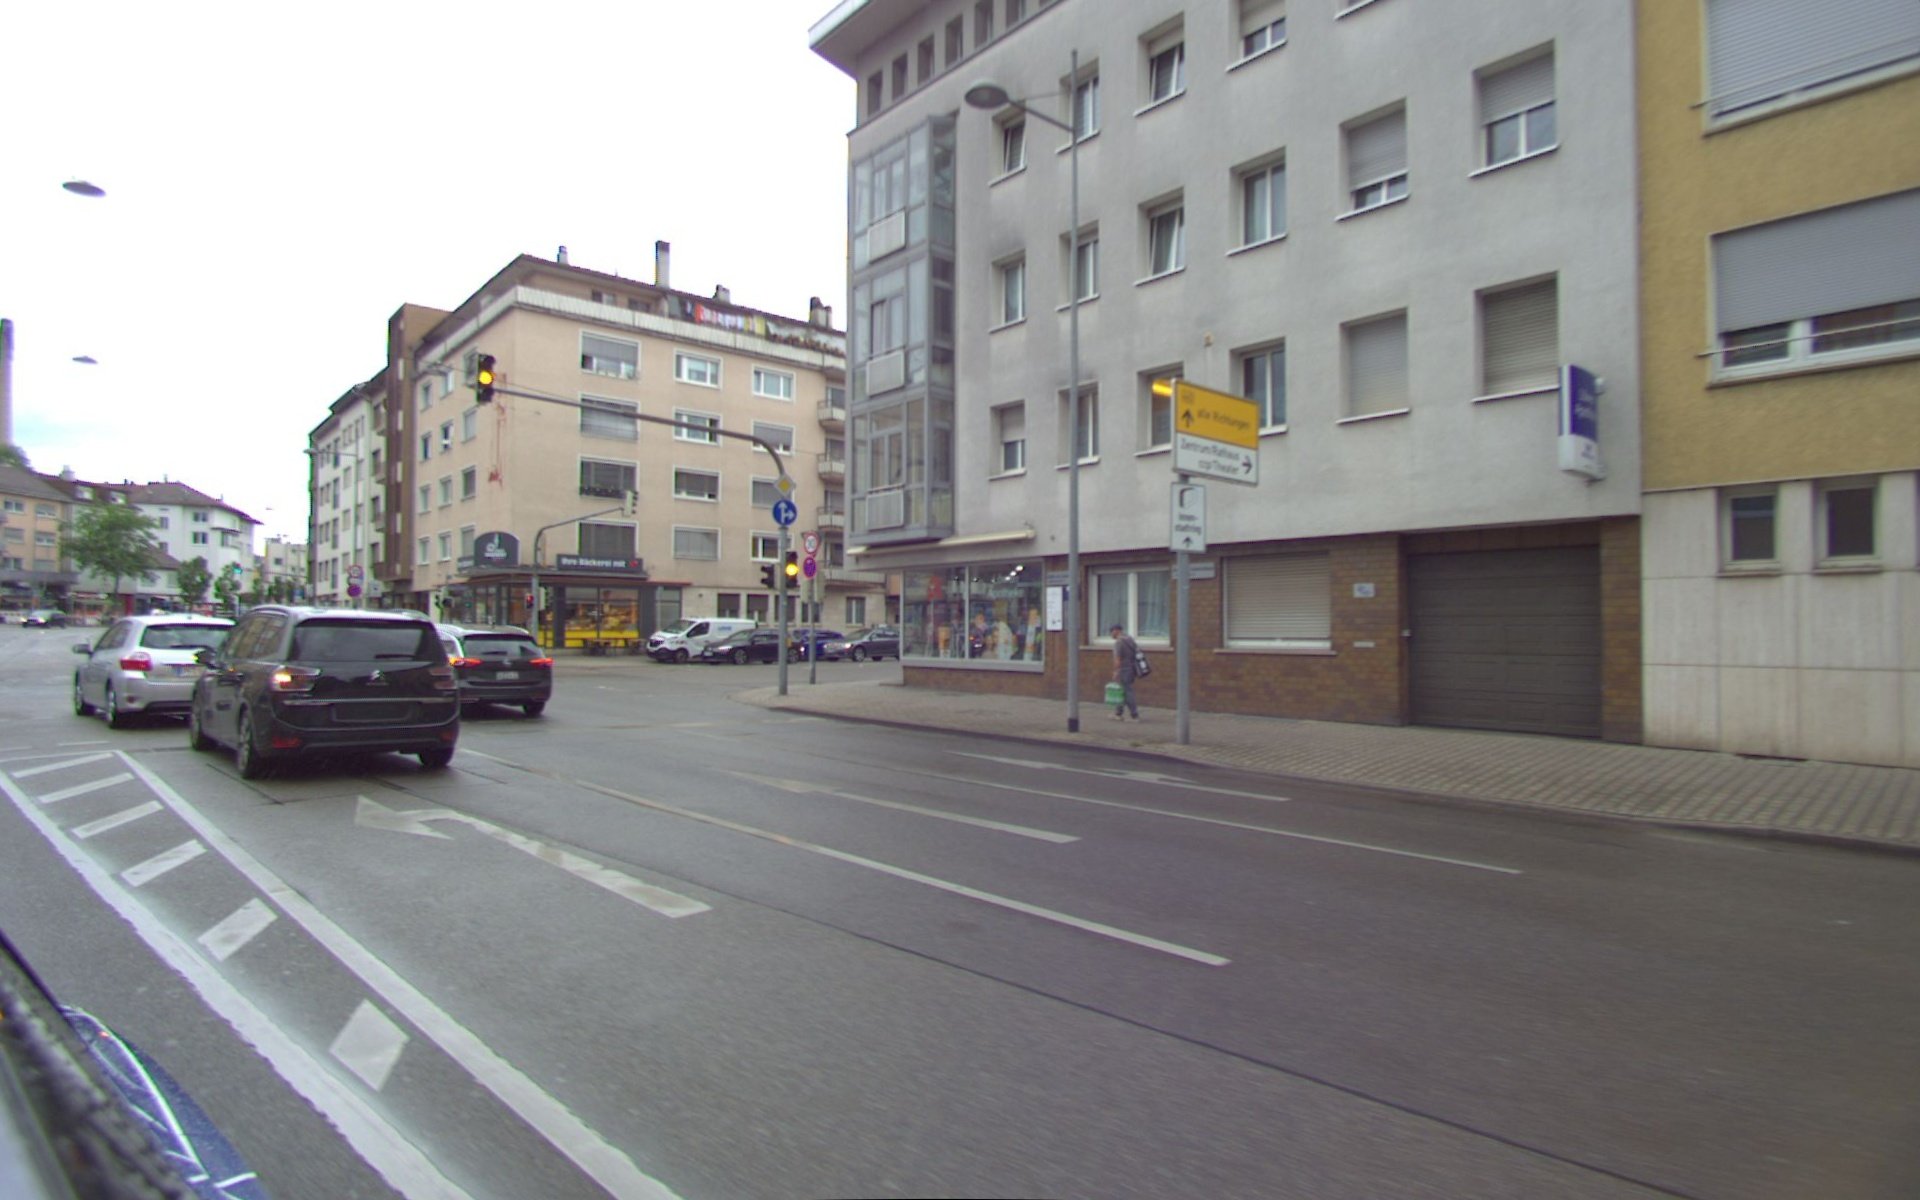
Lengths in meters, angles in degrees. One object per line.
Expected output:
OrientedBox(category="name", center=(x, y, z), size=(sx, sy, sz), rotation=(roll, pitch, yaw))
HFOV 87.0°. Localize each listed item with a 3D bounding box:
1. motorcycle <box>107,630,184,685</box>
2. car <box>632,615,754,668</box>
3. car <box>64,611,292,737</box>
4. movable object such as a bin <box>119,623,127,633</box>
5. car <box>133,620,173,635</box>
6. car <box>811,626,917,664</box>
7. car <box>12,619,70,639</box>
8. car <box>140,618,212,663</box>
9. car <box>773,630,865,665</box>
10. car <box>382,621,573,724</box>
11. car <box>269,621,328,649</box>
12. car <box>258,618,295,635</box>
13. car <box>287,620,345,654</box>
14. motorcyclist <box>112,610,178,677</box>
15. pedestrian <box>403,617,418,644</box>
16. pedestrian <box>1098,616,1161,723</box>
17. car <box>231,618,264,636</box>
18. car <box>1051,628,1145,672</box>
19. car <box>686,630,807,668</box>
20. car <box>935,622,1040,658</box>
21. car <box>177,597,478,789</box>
OrientedBox(category="motorcycle", center=(-18.779, 1.313, 23.327), size=(2.091, 1.200, 0.584), rotation=(0, -1, 27))
OrientedBox(category="car", center=(-11.670, 1.794, 44.476), size=(2.047, 2.118, 4.797), rotation=(2, 0, 44))
OrientedBox(category="car", center=(-11.534, 0.975, 14.827), size=(4.134, 1.538, 1.913), rotation=(0, -2, 42))
OrientedBox(category="movable object such as a bin", center=(-81.200, 2.730, 98.211), size=(0.413, 0.937, 0.533), rotation=(3, -4, -20))
OrientedBox(category="car", center=(-77.489, 2.580, 97.232), size=(1.783, 1.352, 4.013), rotation=(-1, -1, -20))
OrientedBox(category="car", center=(-4.186, 1.982, 44.712), size=(2.044, 1.602, 4.594), rotation=(-3, -3, 39))
OrientedBox(category="car", center=(-71.155, 2.221, 78.396), size=(1.813, 1.453, 4.012), rotation=(-1, 0, -18))
OrientedBox(category="car", center=(-31.133, 1.574, 40.135), size=(1.799, 1.652, 4.377), rotation=(2, -2, -43))
OrientedBox(category="car", center=(-6.963, 2.305, 50.304), size=(2.045, 1.566, 4.282), rotation=(2, 0, 40))
OrientedBox(category="car", center=(-8.258, 1.150, 17.105), size=(1.798, 1.444, 4.406), rotation=(4, -3, -40))
OrientedBox(category="car", center=(-37.327, 1.977, 57.027), size=(1.970, 1.488, 4.522), rotation=(3, -2, -43))
OrientedBox(category="car", center=(-70.079, 2.727, 103.838), size=(1.836, 1.659, 4.266), rotation=(2, -2, -17))
OrientedBox(category="car", center=(-32.224, 1.823, 50.612), size=(1.883, 1.566, 4.639), rotation=(3, -2, -39))
OrientedBox(category="motorcyclist", center=(-18.779, 0.992, 23.325), size=(0.860, 1.504, 0.909), rotation=(0, -1, 26))
OrientedBox(category="pedestrian", center=(-31.839, 1.757, 58.614), size=(0.668, 1.595, 0.538), rotation=(0, -1, 36))
OrientedBox(category="pedestrian", center=(2.626, 1.057, 15.678), size=(0.678, 1.593, 0.653), rotation=(-2, 0, -41))
OrientedBox(category="car", center=(-85.510, 3.256, 121.469), size=(1.966, 2.029, 4.011), rotation=(-1, -1, -15))
OrientedBox(category="car", center=(5.600, 1.965, 40.666), size=(2.042, 1.643, 4.288), rotation=(-1, -2, 35))
OrientedBox(category="car", center=(-8.253, 1.869, 39.348), size=(2.045, 1.387, 4.282), rotation=(-3, -3, 40))
OrientedBox(category="car", center=(1.204, 1.694, 42.118), size=(1.999, 1.398, 4.437), rotation=(-2, -5, 42))
OrientedBox(category="car", center=(-6.884, 0.808, 10.783), size=(1.799, 1.620, 4.434), rotation=(2, -2, -44))
